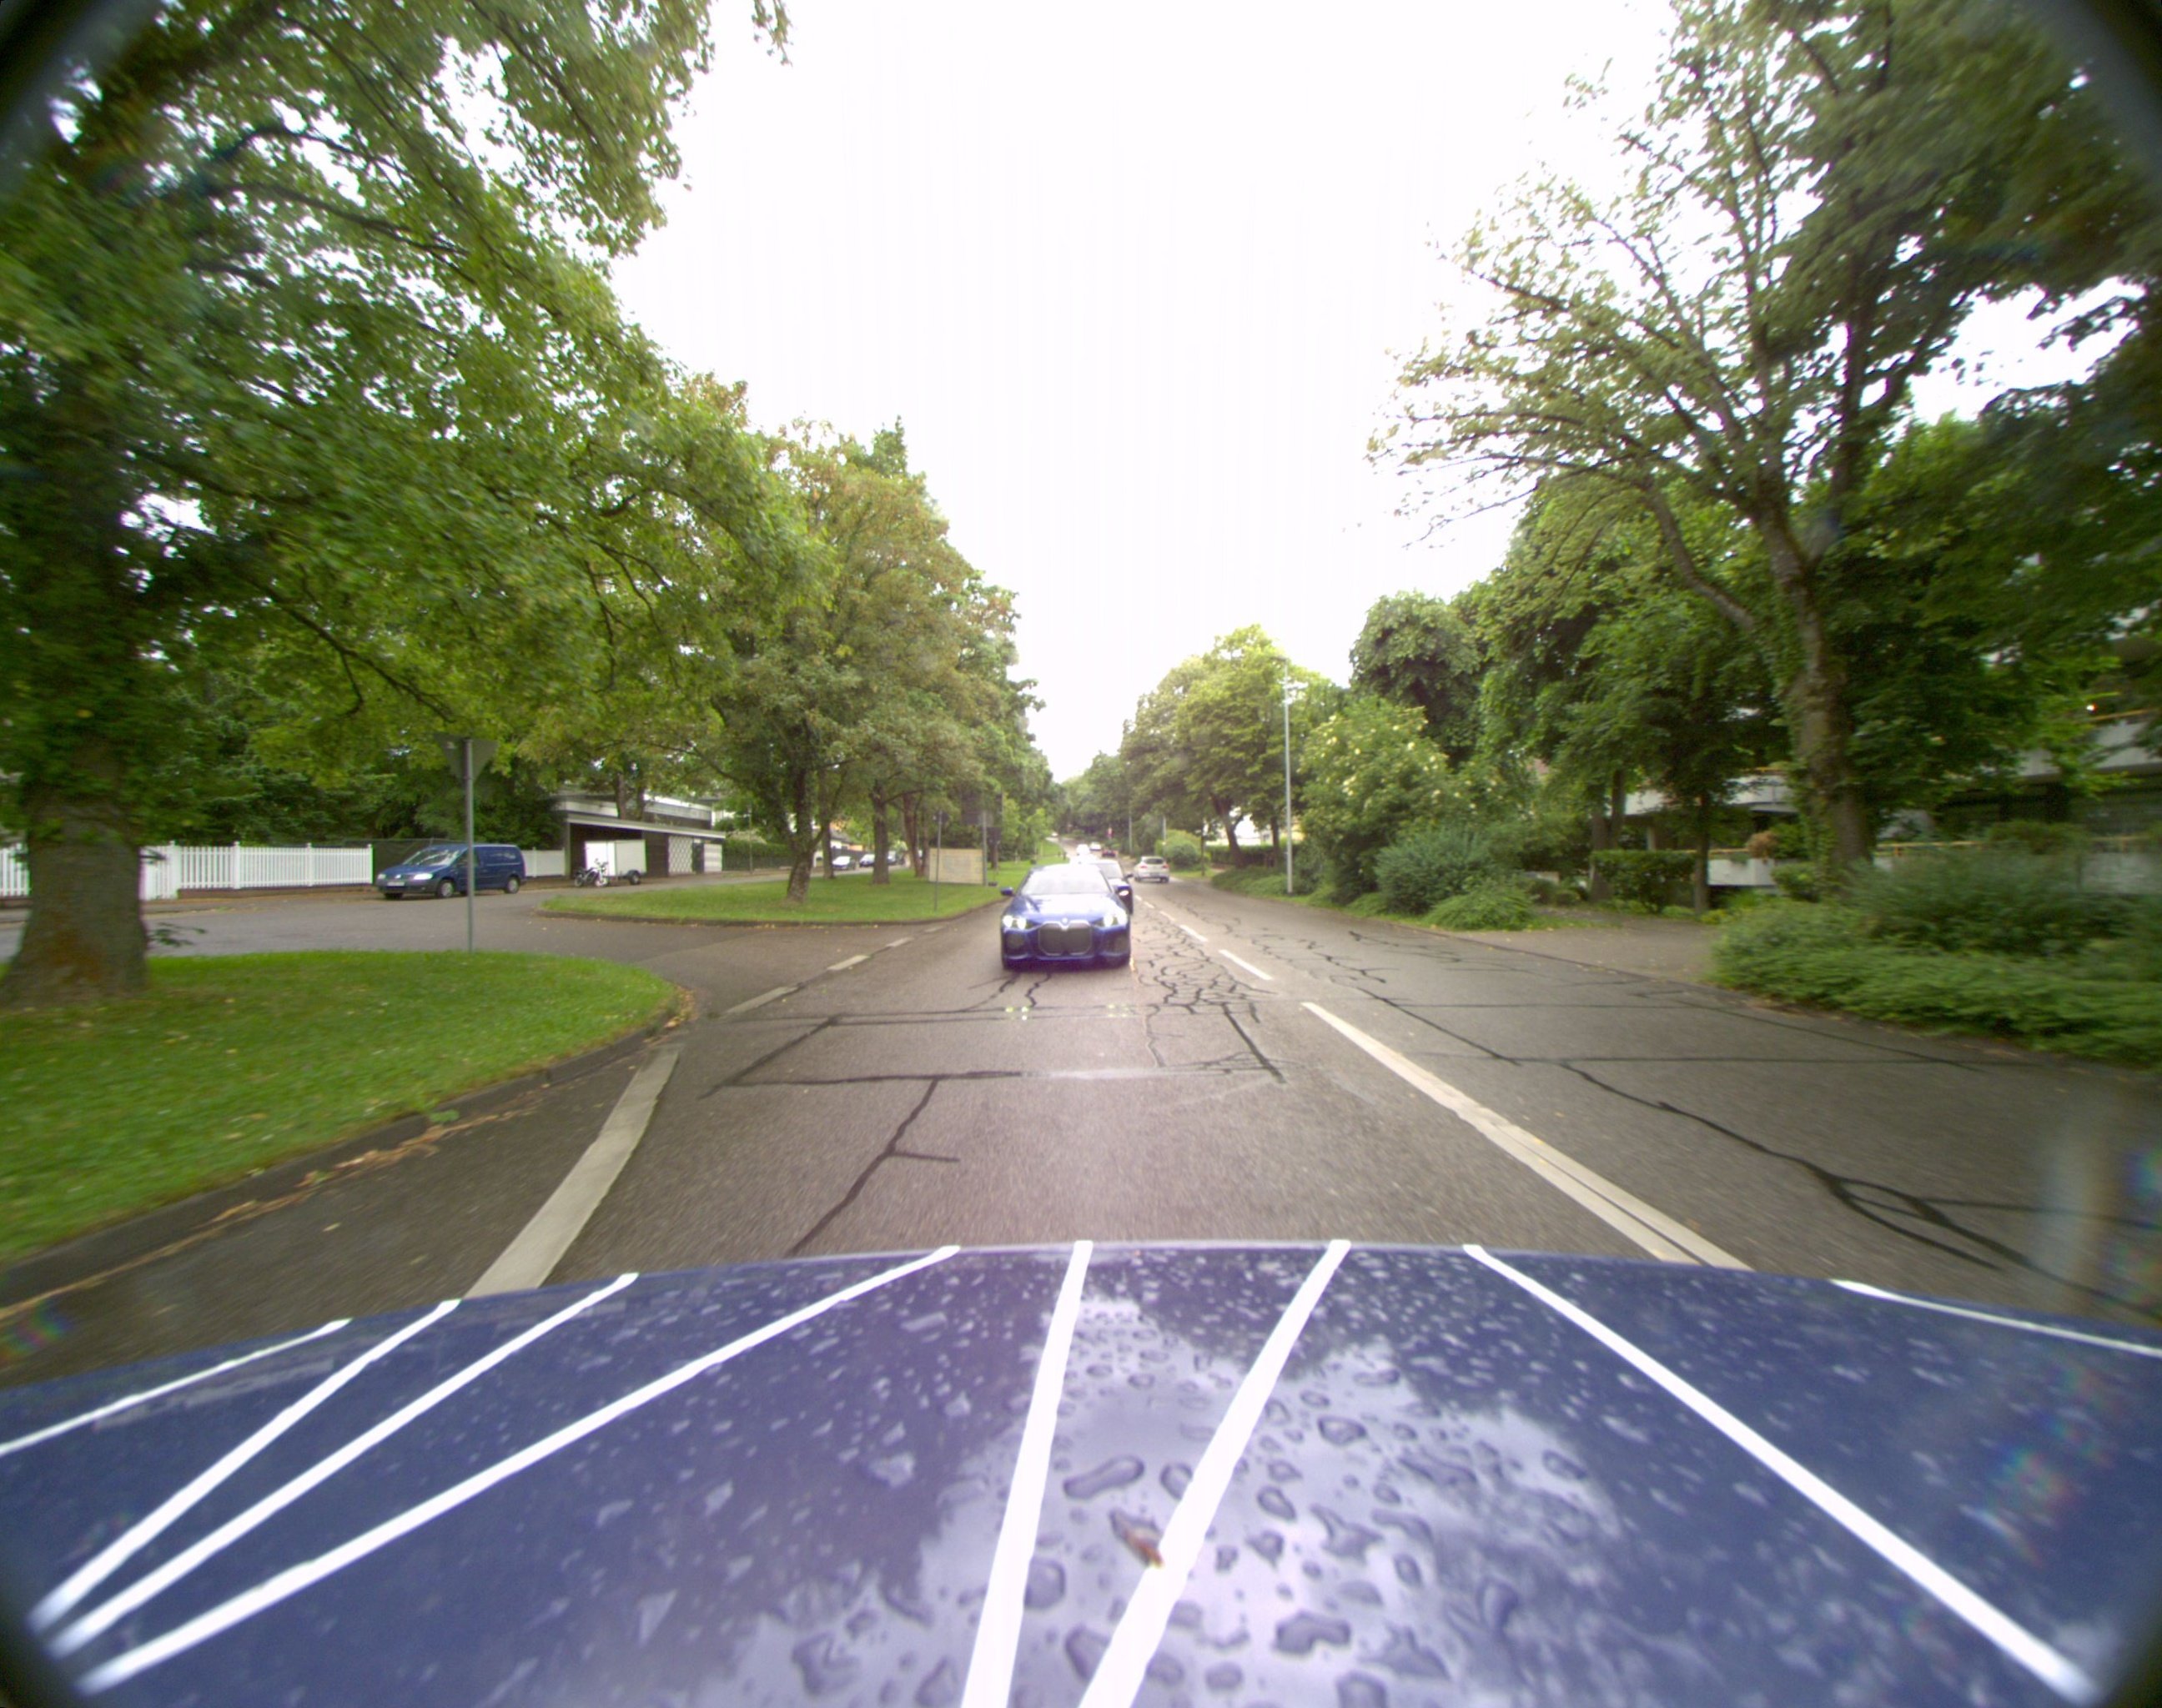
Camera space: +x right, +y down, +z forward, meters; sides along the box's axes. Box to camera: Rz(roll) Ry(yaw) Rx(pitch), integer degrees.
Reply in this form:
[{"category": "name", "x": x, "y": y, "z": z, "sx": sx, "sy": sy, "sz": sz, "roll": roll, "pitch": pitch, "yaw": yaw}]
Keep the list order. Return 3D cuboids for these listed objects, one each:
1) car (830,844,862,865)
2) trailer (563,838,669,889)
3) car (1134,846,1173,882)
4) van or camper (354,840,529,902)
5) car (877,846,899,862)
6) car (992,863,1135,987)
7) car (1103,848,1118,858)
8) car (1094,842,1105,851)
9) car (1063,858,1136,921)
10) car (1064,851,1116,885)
[{"category": "car", "x": -23.801, "y": 0.027, "z": 77.040, "sx": 1.999, "sy": 2.002, "sz": 3.999, "roll": 0, "pitch": 0, "yaw": 0}, {"category": "trailer", "x": -21.340, "y": 0.376, "z": 35.146, "sx": 1.771, "sy": 2.104, "sz": 5.191, "roll": -2, "pitch": 1, "yaw": -2}, {"category": "car", "x": 4.168, "y": 0.571, "z": 44.309, "sx": 1.998, "sy": 2.002, "sz": 4.574, "roll": 0, "pitch": 0, "yaw": 2}, {"category": "van or camper", "x": -21.091, "y": 0.506, "z": 25.395, "sx": 1.999, "sy": 1.798, "sz": 4.773, "roll": -2, "pitch": 1, "yaw": -5}, {"category": "car", "x": -25.647, "y": -0.040, "z": 100.891, "sx": 1.999, "sy": 2.001, "sz": 4.000, "roll": 0, "pitch": -2, "yaw": -2}, {"category": "car", "x": -0.234, "y": 0.954, "z": 12.013, "sx": 1.826, "sy": 1.471, "sz": 4.067, "roll": -2, "pitch": 1, "yaw": 0}, {"category": "car", "x": 4.102, "y": -0.090, "z": 105.489, "sx": 1.769, "sy": 1.341, "sz": 4.376, "roll": 0, "pitch": 1, "yaw": -2}, {"category": "car", "x": 3.242, "y": -1.292, "z": 131.999, "sx": 1.825, "sy": 1.471, "sz": 4.067, "roll": 0, "pitch": 1, "yaw": 3}, {"category": "car", "x": 0.478, "y": 0.930, "z": 21.641, "sx": 1.826, "sy": 1.471, "sz": 4.067, "roll": -2, "pitch": 1, "yaw": 0}, {"category": "car", "x": 0.362, "y": 0.609, "z": 36.347, "sx": 2.032, "sy": 1.471, "sz": 4.065, "roll": -2, "pitch": 1, "yaw": -5}]
